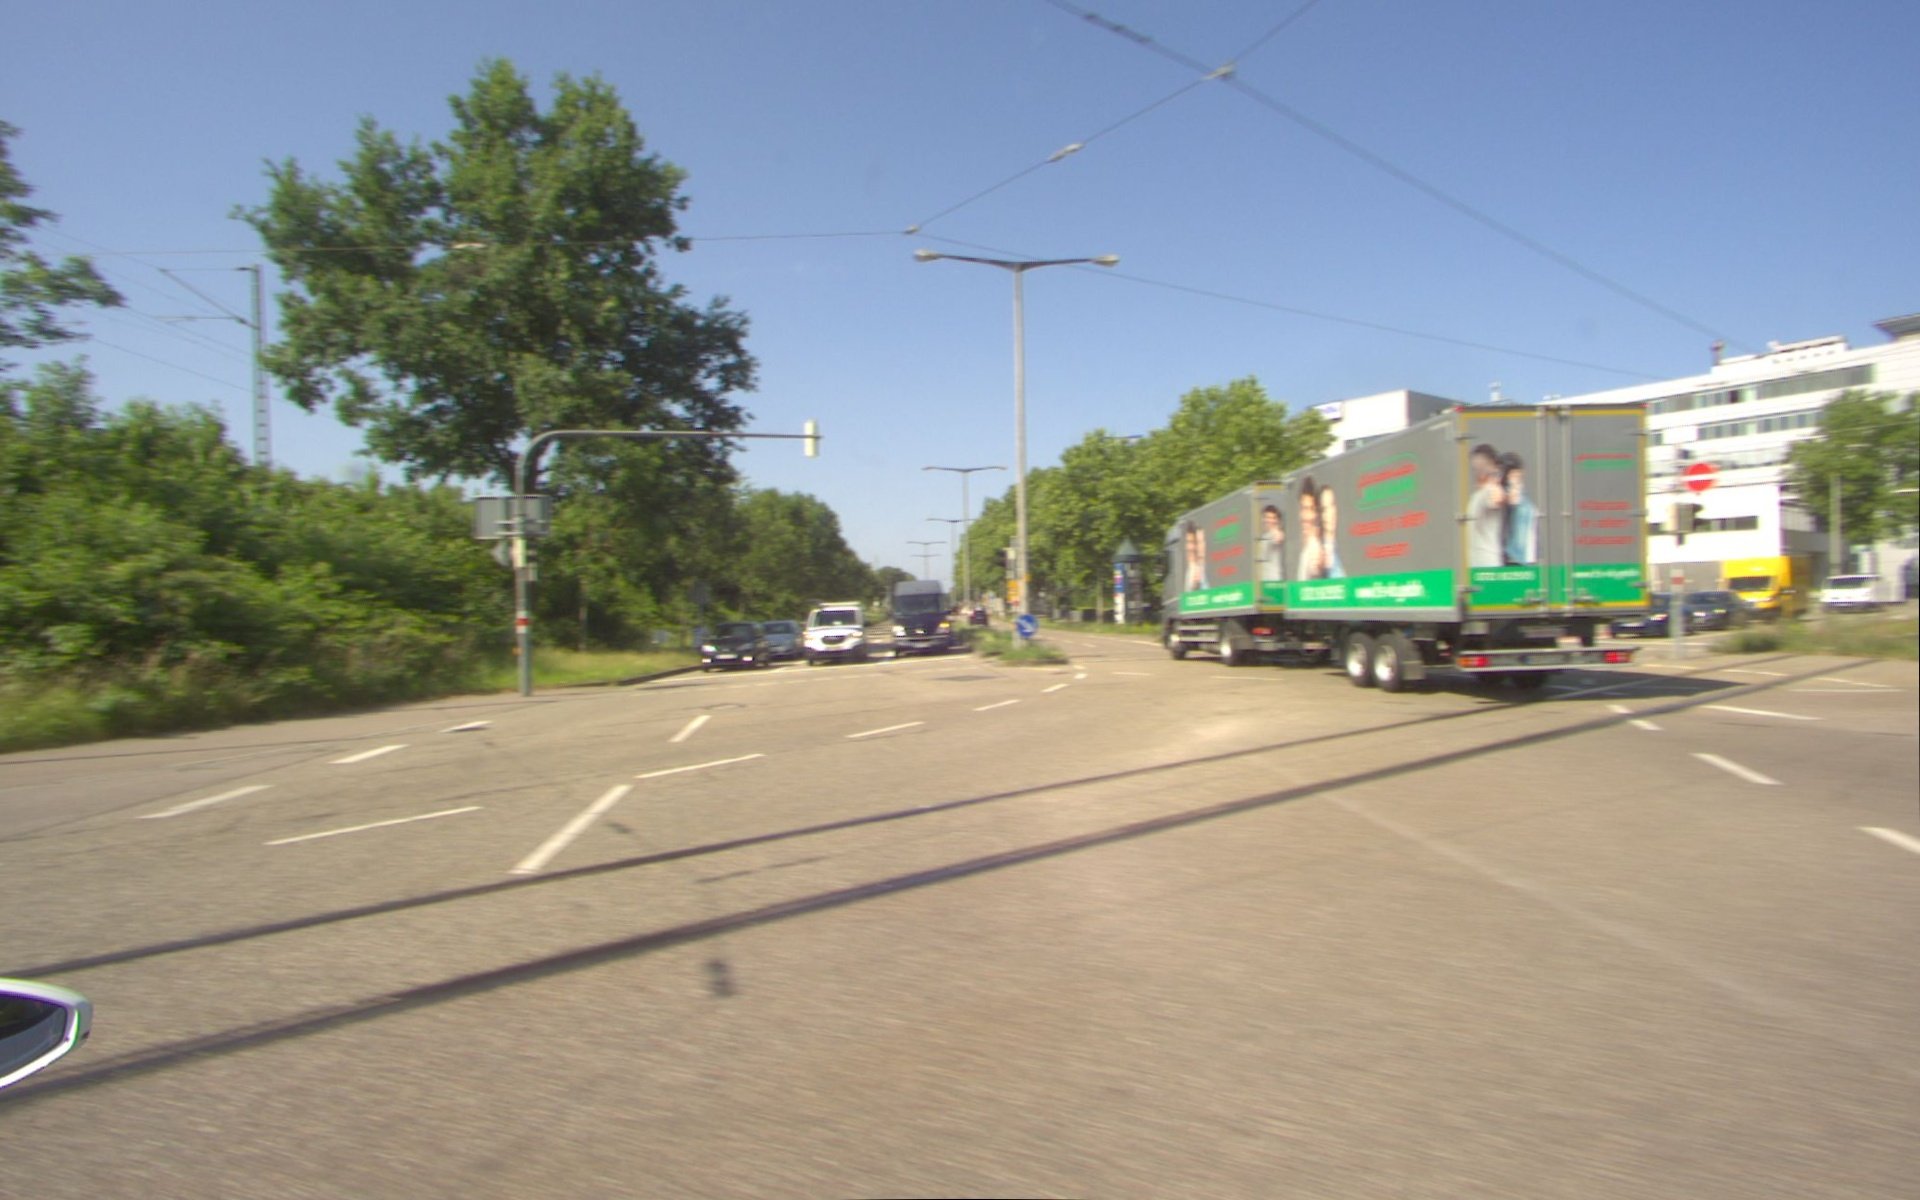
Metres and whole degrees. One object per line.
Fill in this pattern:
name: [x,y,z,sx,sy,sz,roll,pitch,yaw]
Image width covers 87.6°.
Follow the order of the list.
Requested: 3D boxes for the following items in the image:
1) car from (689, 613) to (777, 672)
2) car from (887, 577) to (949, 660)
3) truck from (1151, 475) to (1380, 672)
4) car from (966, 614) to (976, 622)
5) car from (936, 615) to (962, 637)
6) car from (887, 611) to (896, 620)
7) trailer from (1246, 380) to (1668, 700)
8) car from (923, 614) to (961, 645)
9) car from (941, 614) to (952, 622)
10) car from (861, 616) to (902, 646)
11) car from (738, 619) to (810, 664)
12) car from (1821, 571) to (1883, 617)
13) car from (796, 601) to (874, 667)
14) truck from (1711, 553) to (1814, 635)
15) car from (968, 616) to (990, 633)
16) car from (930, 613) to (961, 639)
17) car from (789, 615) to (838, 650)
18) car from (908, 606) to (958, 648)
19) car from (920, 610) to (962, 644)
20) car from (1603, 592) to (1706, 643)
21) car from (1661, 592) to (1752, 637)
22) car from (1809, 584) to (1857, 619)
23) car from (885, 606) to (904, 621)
car: [-6.882,1.273,30.694,1.880,1.662,3.738,-1,-1,-1]
car: [-1.416,0.669,35.269,1.961,2.641,5.135,-1,-1,-1]
truck: [6.972,-0.420,24.487,2.685,3.939,8.725,0,-1,-2]
car: [2.190,3.707,208.179,1.961,1.605,4.457,1,-1,-1]
car: [-0.919,2.068,78.726,1.961,1.661,4.001,1,-1,-2]
car: [-15.054,3.444,219.558,1.857,2.039,4.001,1,-1,-2]
trailer: [7.235,-0.647,16.203,2.692,3.926,7.737,-1,-1,-2]
car: [-0.982,1.642,55.052,1.961,1.605,4.001,1,-1,-1]
car: [-2.696,3.627,199.356,1.961,1.605,4.457,1,-1,-1]
car: [-4.386,1.751,56.496,1.961,1.605,4.457,1,-1,-1]
car: [-6.940,1.547,37.800,1.961,1.560,4.237,-1,-1,-1]
car: [46.482,-0.264,52.158,3.958,2.230,1.982,2,-2,-41]
car: [-3.915,1.079,32.082,1.961,1.894,4.775,-1,-1,-1]
truck: [34.379,-0.155,42.817,6.889,3.175,2.279,2,-2,-41]
car: [1.844,2.412,99.072,1.961,1.605,4.457,1,-1,-1]
car: [-1.011,1.725,67.321,1.961,1.661,4.001,1,-1,-2]
car: [-7.638,1.677,52.550,1.961,1.700,4.237,-1,-1,-1]
car: [-1.129,1.135,42.303,1.961,1.605,4.001,-2,-1,-1]
car: [-0.933,1.325,49.370,1.961,1.605,4.001,1,-1,-1]
car: [23.359,0.616,33.638,3.958,1.572,1.982,2,-2,-41]
car: [28.009,0.568,37.543,3.958,1.572,1.982,2,-2,-41]
car: [54.949,0.139,63.023,3.962,2.039,1.980,2,-2,-44]
car: [-7.701,1.583,117.681,1.961,1.700,4.237,-1,-1,-1]
